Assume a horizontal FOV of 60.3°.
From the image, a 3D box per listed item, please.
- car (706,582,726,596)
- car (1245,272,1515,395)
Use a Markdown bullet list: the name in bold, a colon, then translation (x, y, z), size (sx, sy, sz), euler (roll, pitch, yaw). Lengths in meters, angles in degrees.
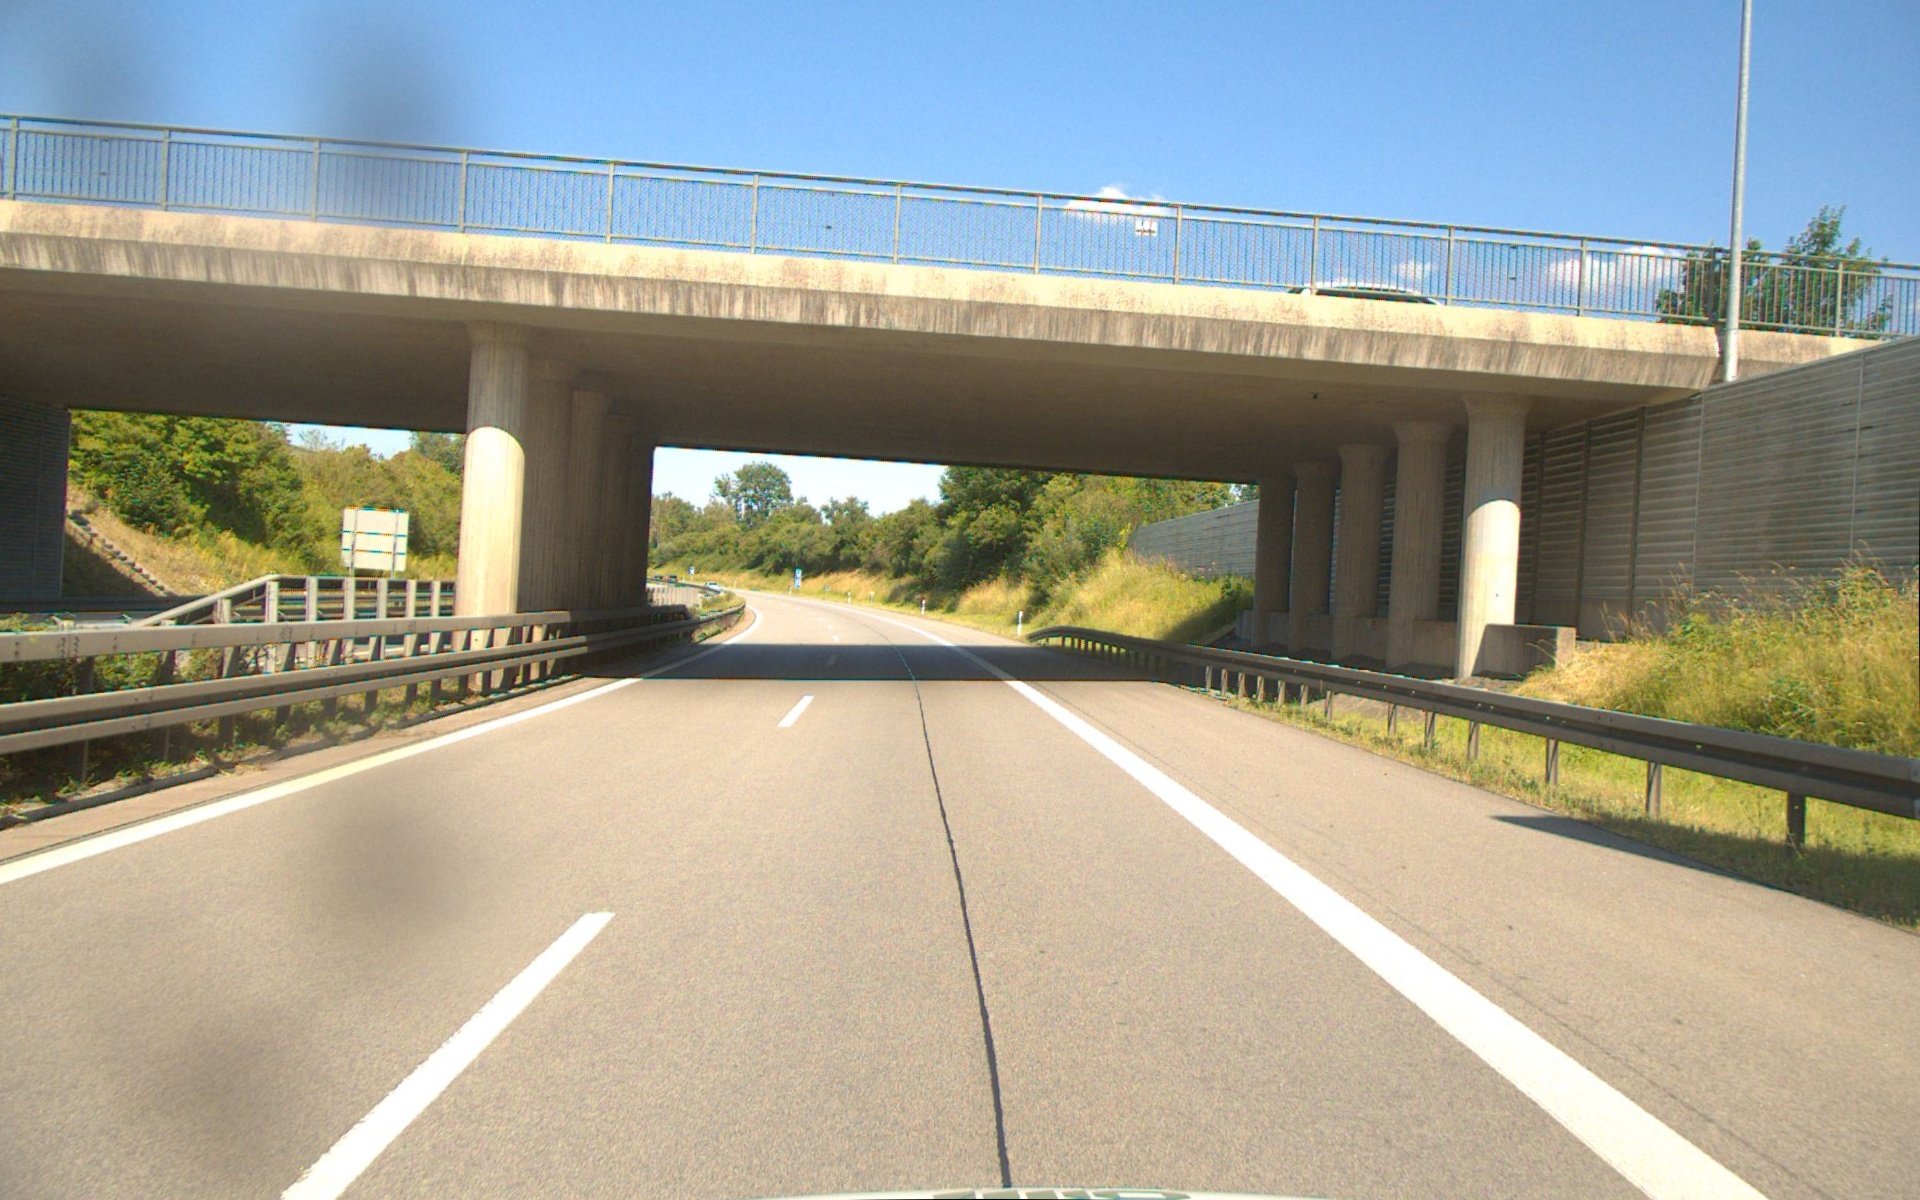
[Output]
- **car**: translation (-31.144, -1.422, 210.804), size (2.028, 1.653, 3.983), euler (2, -1, -15)
- **car**: translation (7.593, -4.823, 30.173), size (4.314, 1.625, 1.999), euler (3, -1, -3)
